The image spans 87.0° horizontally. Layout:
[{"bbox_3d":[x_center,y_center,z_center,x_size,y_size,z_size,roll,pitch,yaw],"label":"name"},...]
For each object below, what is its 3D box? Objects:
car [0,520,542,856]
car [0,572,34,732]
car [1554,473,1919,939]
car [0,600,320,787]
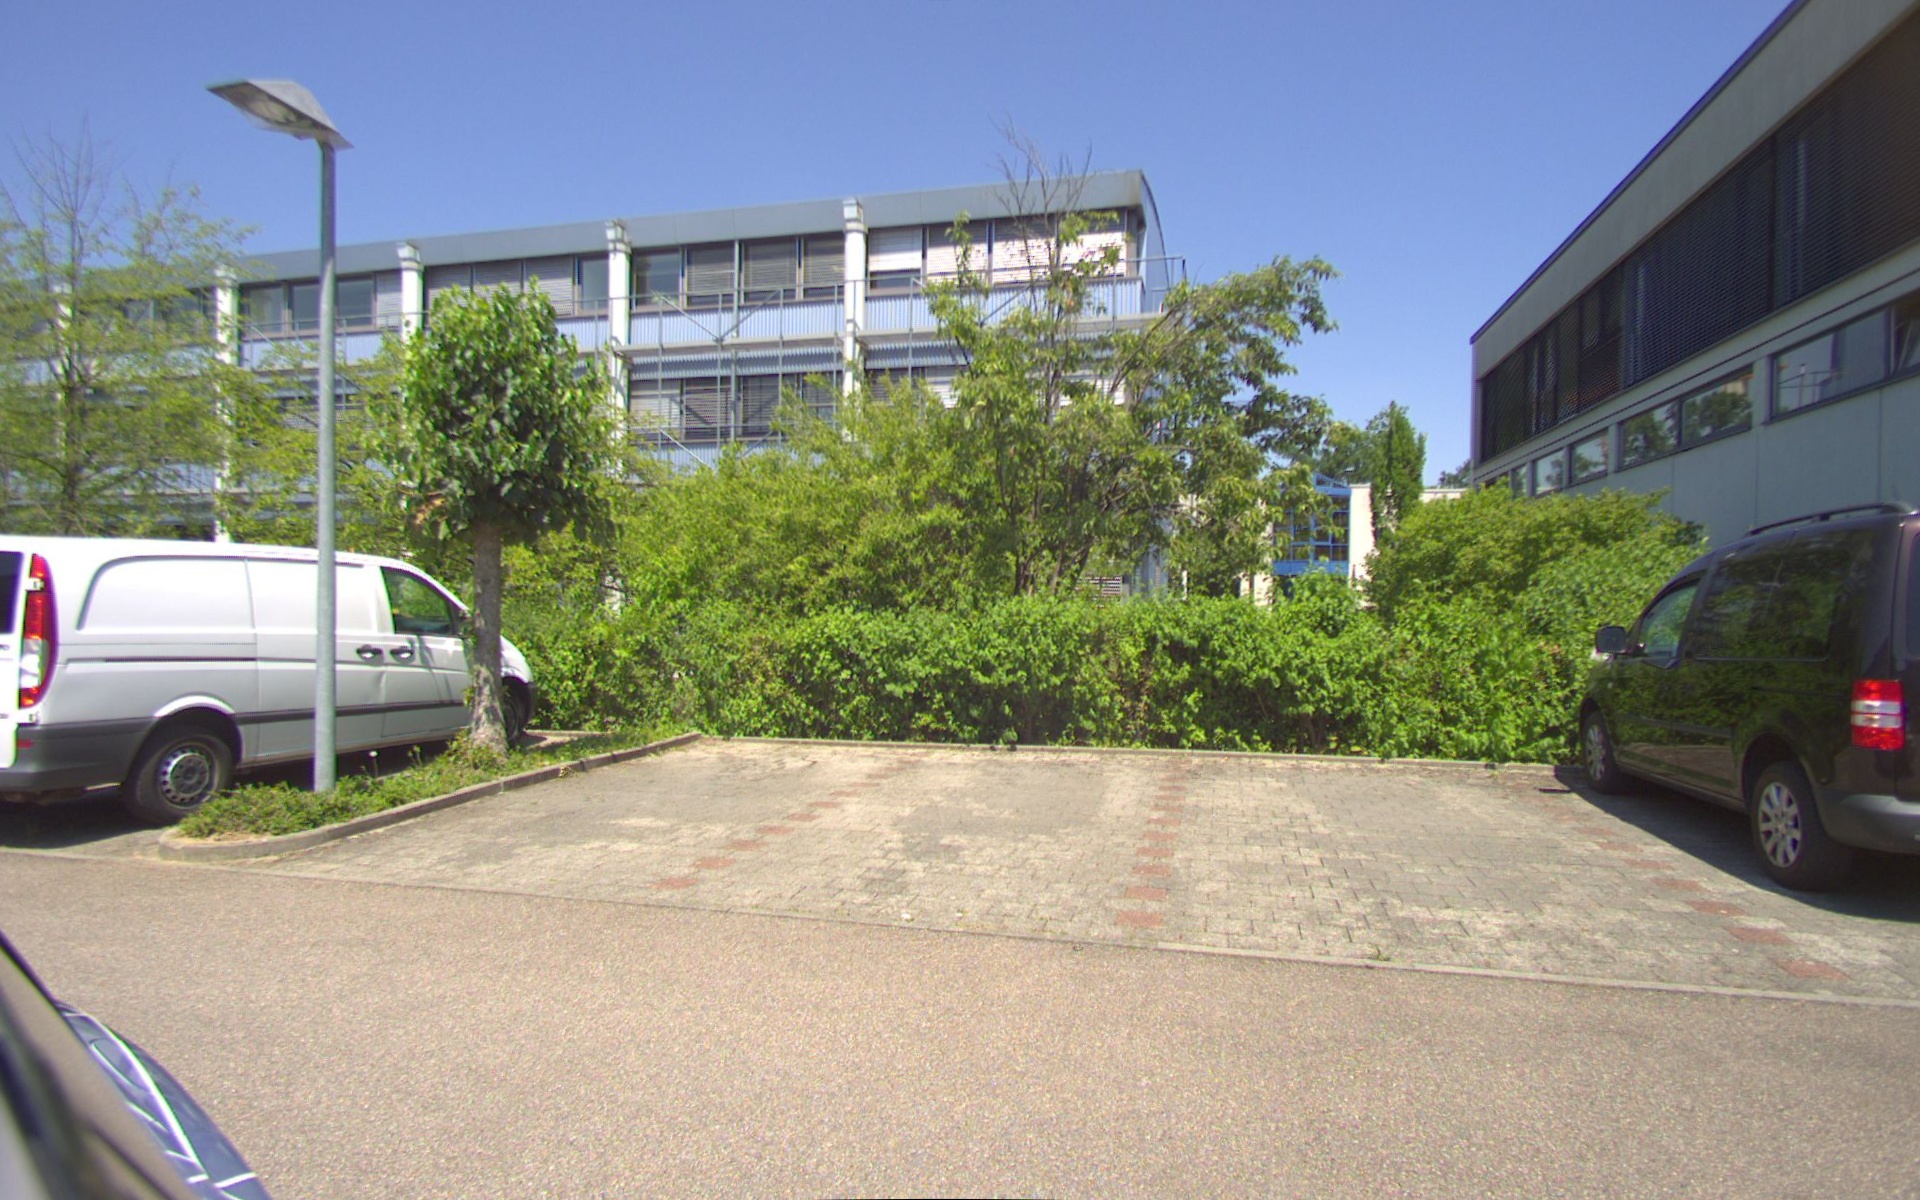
[{"bbox_3d":[-5.648,0.514,8.150,1.850,1.874,4.656,-1,-1,14],"label":"car"},{"bbox_3d":[-12.633,0.613,10.014,1.840,1.870,4.909,-1,0,16],"label":"car"},{"bbox_3d":[5.212,0.423,5.889,1.850,1.874,4.210,-1,-1,14],"label":"car"},{"bbox_3d":[-8.292,0.761,9.201,1.723,1.495,4.179,-1,-1,14],"label":"car"}]
